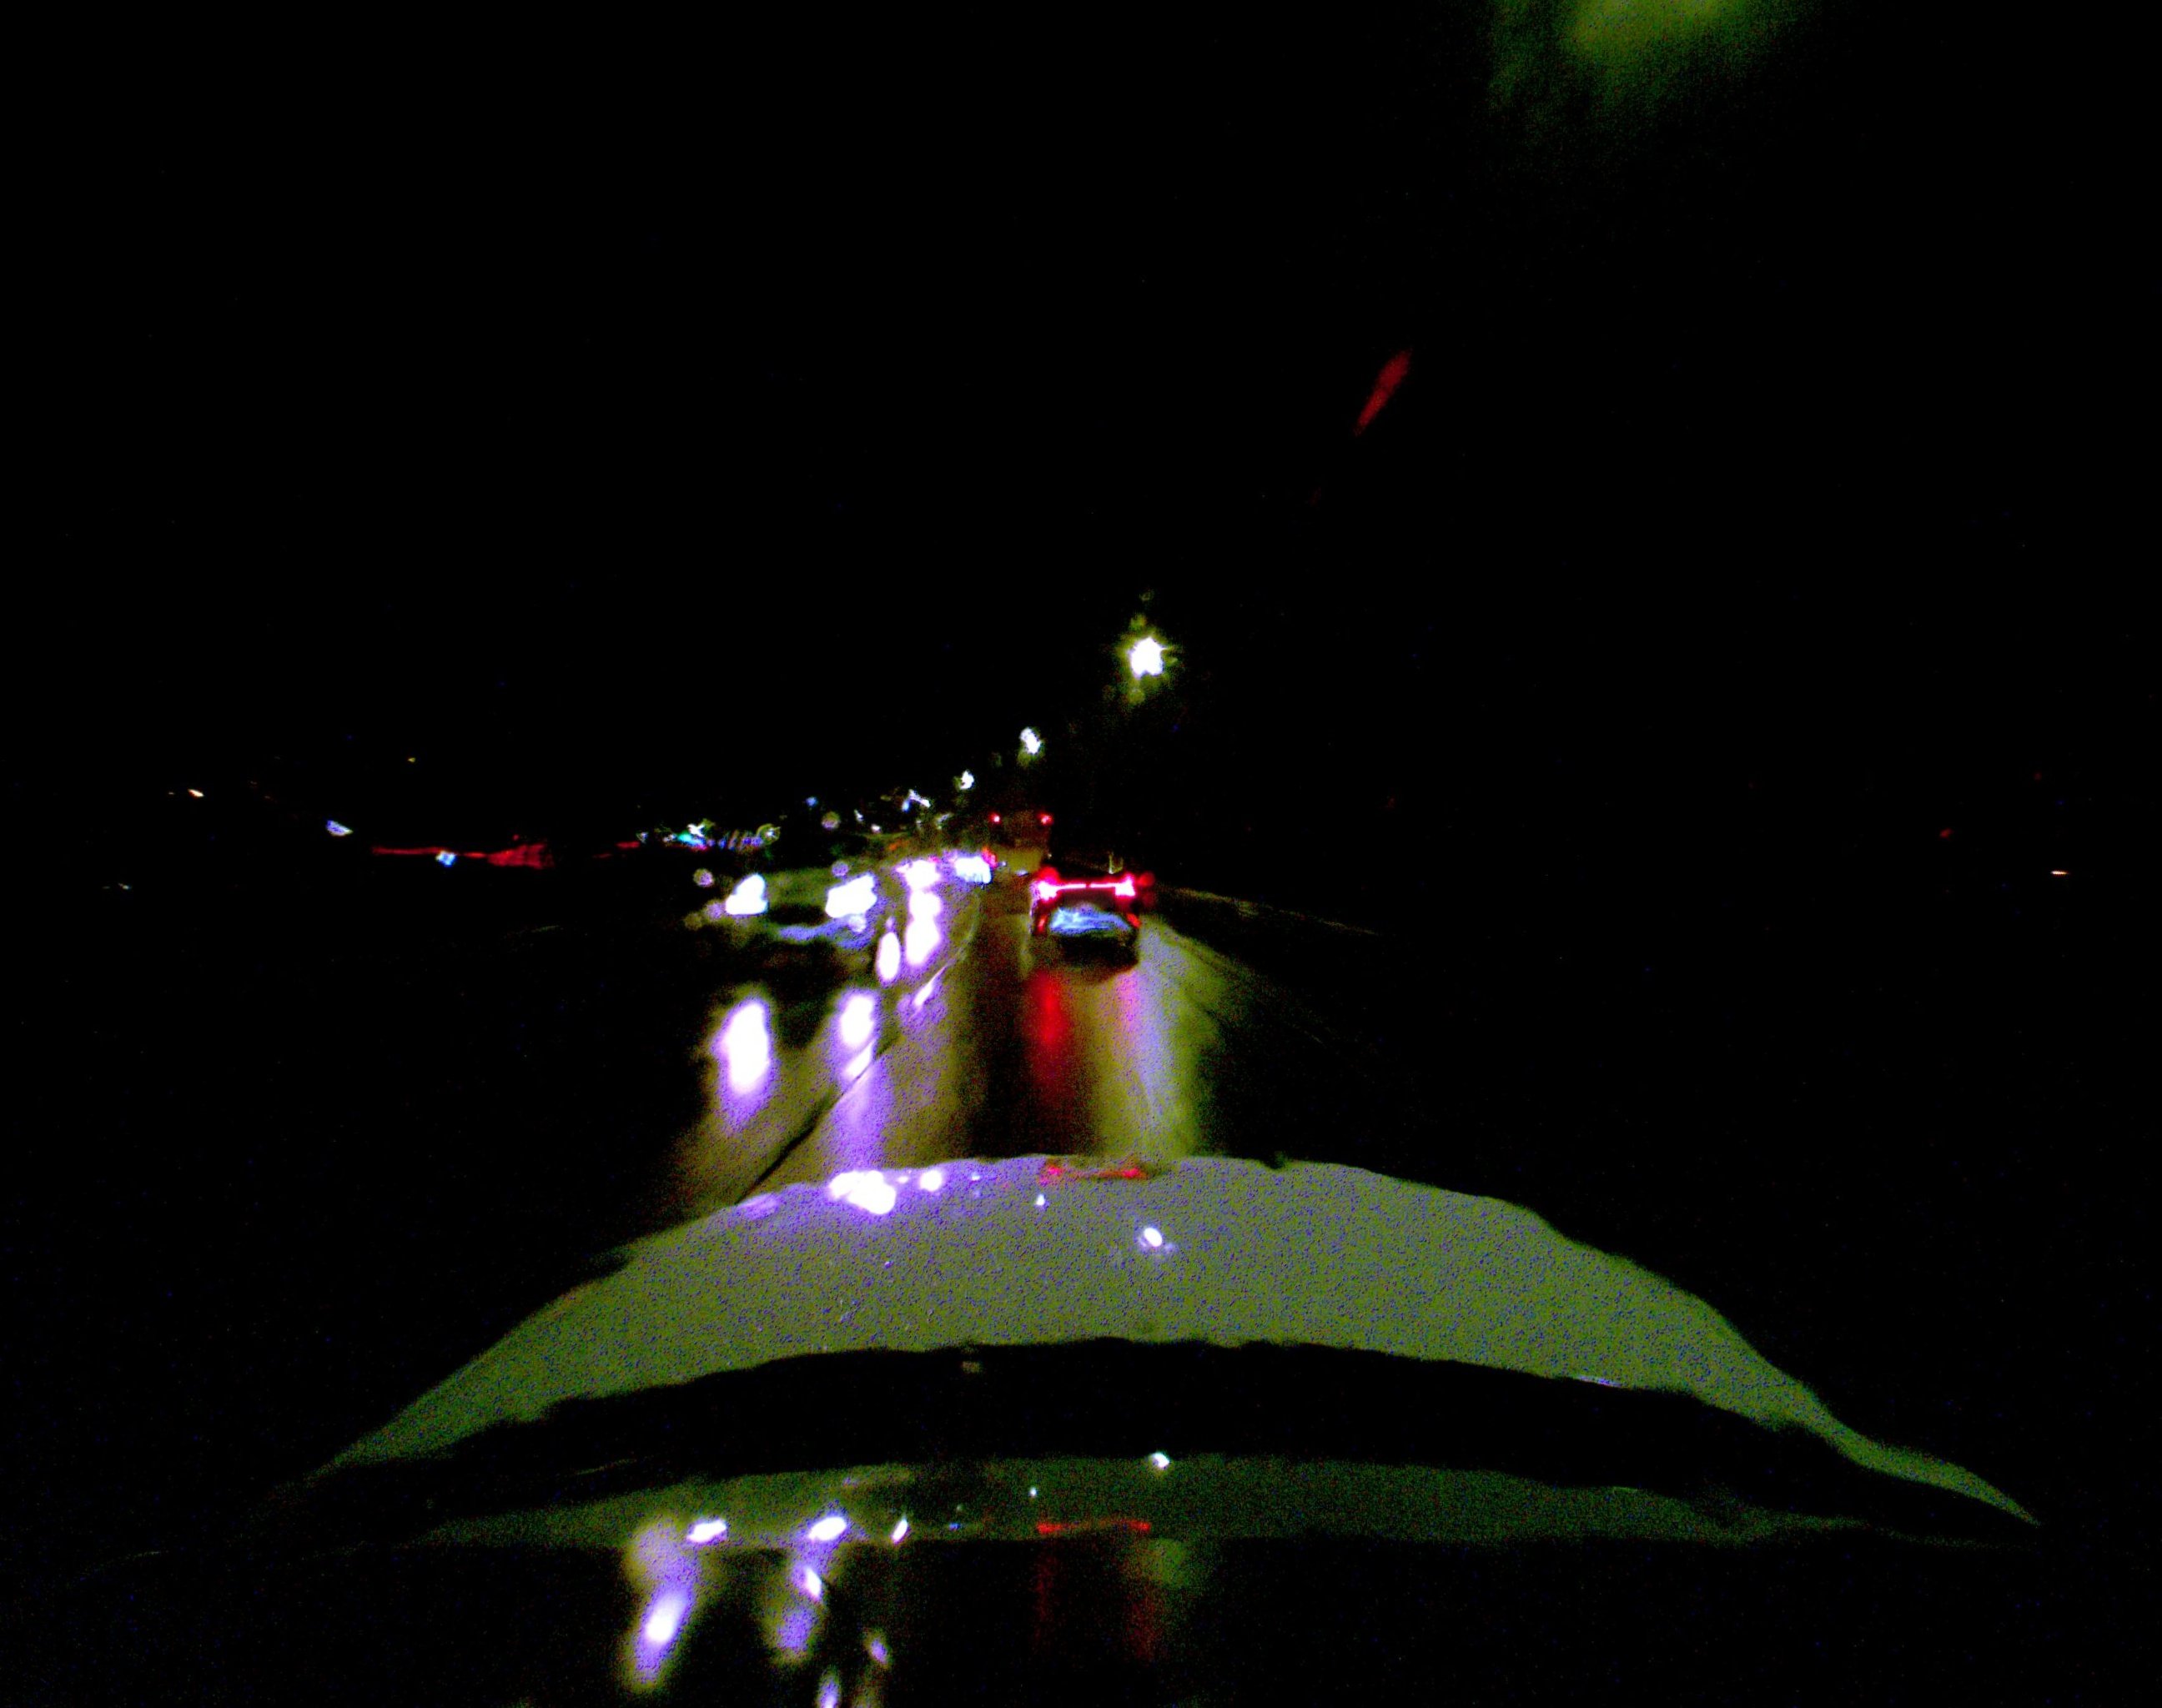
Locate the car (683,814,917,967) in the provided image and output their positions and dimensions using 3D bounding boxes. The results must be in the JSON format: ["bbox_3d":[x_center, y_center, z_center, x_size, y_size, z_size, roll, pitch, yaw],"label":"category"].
[{"bbox_3d":[-4.246,0.464,13.507,2.446,1.988,5.482,-1,0,-6],"label":"car"}]

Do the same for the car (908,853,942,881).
[{"bbox_3d":[-14.576,1.194,75.887,2.702,2.478,5.279,-1,0,-14],"label":"car"}]

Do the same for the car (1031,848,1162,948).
[{"bbox_3d":[0.201,0.656,14.340,1.988,1.524,3.998,0,0,-1],"label":"car"}]

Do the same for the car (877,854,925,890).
[{"bbox_3d":[-7.661,0.736,34.988,1.728,1.405,3.851,-1,0,-9],"label":"car"}]

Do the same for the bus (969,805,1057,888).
[{"bbox_3d":[-3.264,-0.290,36.378,3.044,3.212,9.018,-1,0,-10],"label":"bus"}]
